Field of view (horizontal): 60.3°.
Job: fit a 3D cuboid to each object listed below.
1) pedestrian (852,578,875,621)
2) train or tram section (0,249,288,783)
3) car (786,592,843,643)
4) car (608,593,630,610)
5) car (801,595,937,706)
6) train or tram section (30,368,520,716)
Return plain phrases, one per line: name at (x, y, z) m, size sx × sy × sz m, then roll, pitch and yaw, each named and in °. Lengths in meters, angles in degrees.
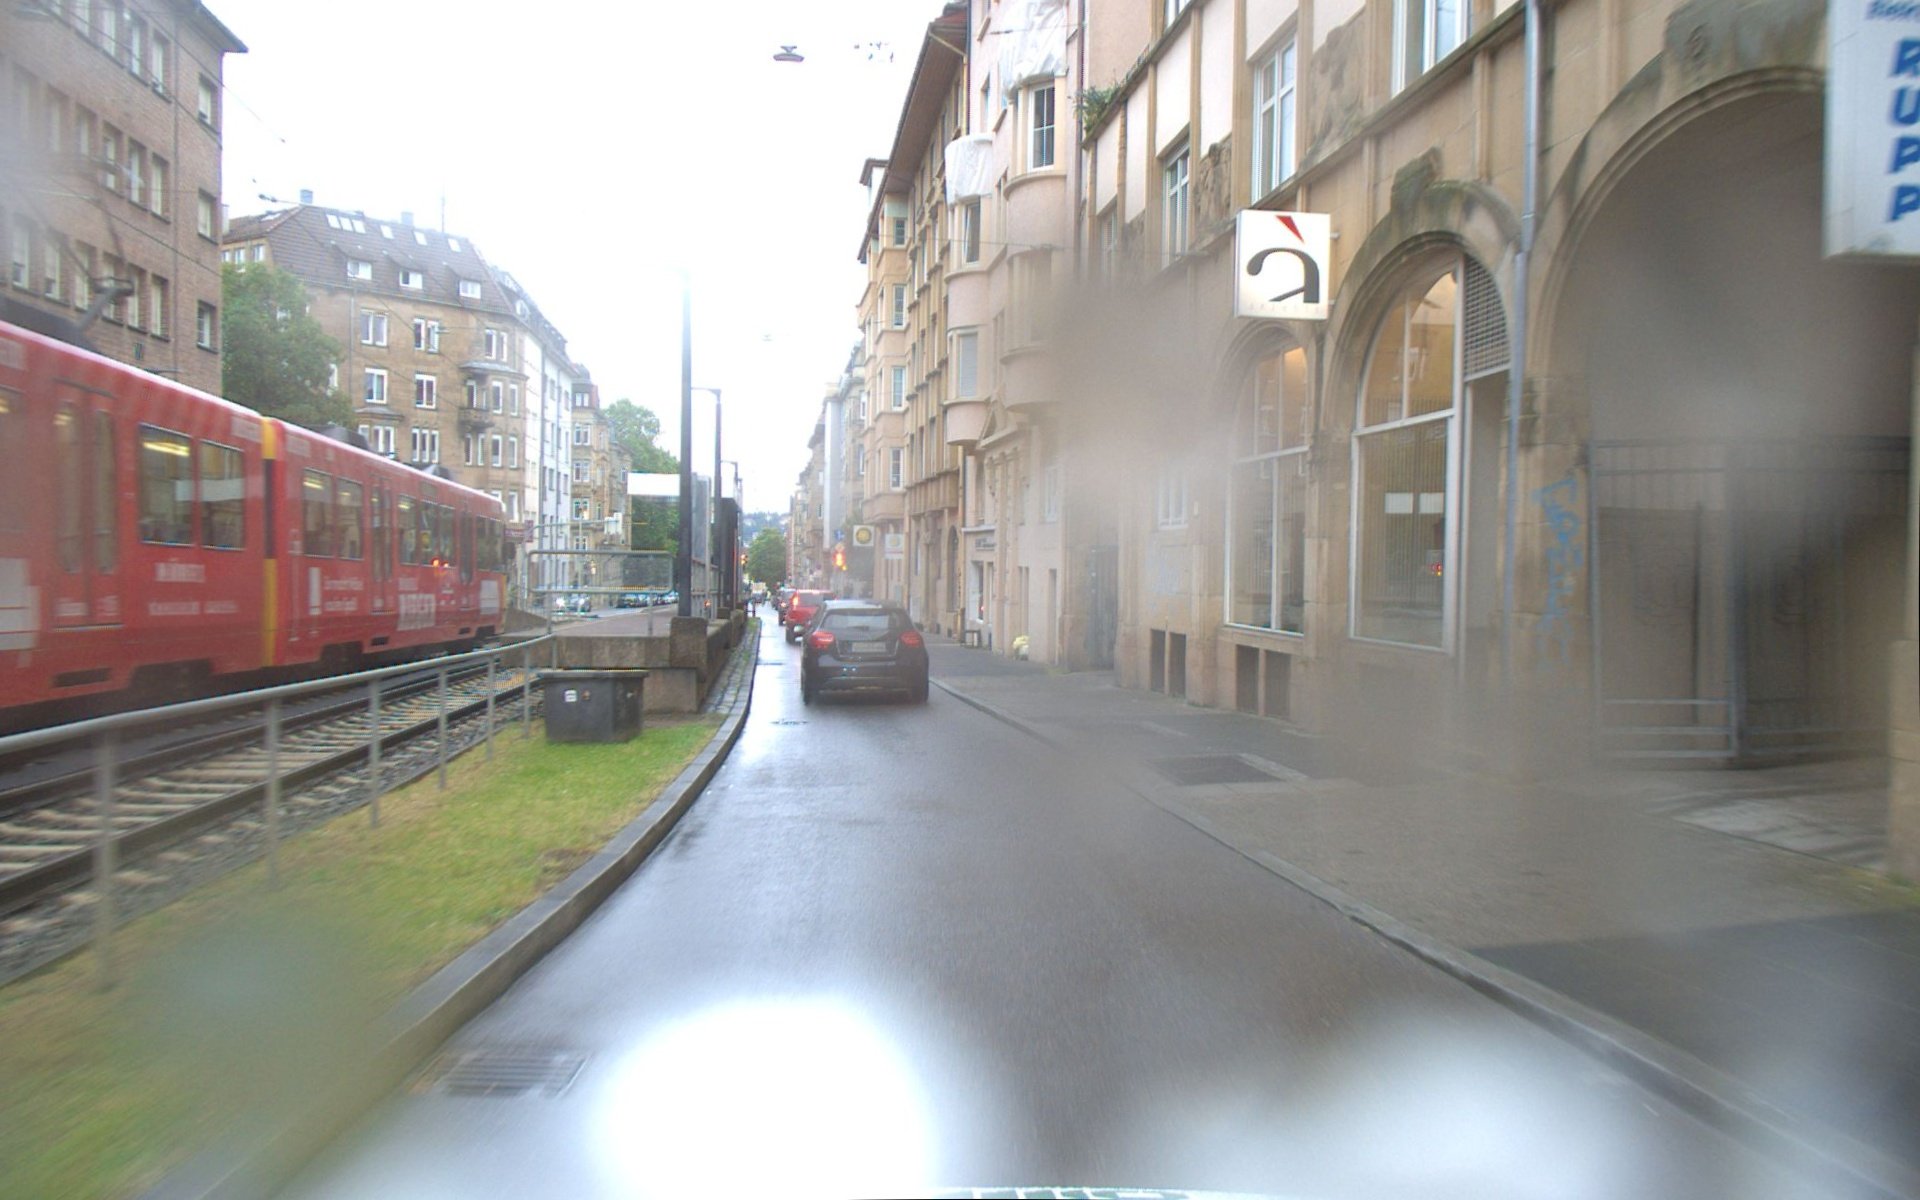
pedestrian at (-4.341, -0.003, 74.598) m, size 0.882 × 1.872 × 0.967 m, roll -4°, pitch 0°, yaw -5°
train or tram section at (-8.244, -0.632, 10.103) m, size 2.663 × 3.989 × 19.268 m, roll 0°, pitch 0°, yaw -7°
car at (-4.348, 0.495, 49.494) m, size 1.617 × 1.477 × 3.996 m, roll 0°, pitch 0°, yaw -5°
car at (-33.469, 0.125, 162.434) m, size 1.689 × 1.568 × 3.929 m, roll -1°, pitch 0°, yaw -5°
car at (-1.401, 0.669, 24.284) m, size 1.830 × 1.477 × 3.996 m, roll 0°, pitch 0°, yaw -5°
train or tram section at (-10.502, -0.661, 28.952) m, size 2.663 × 3.989 × 19.831 m, roll 0°, pitch 0°, yaw -7°
